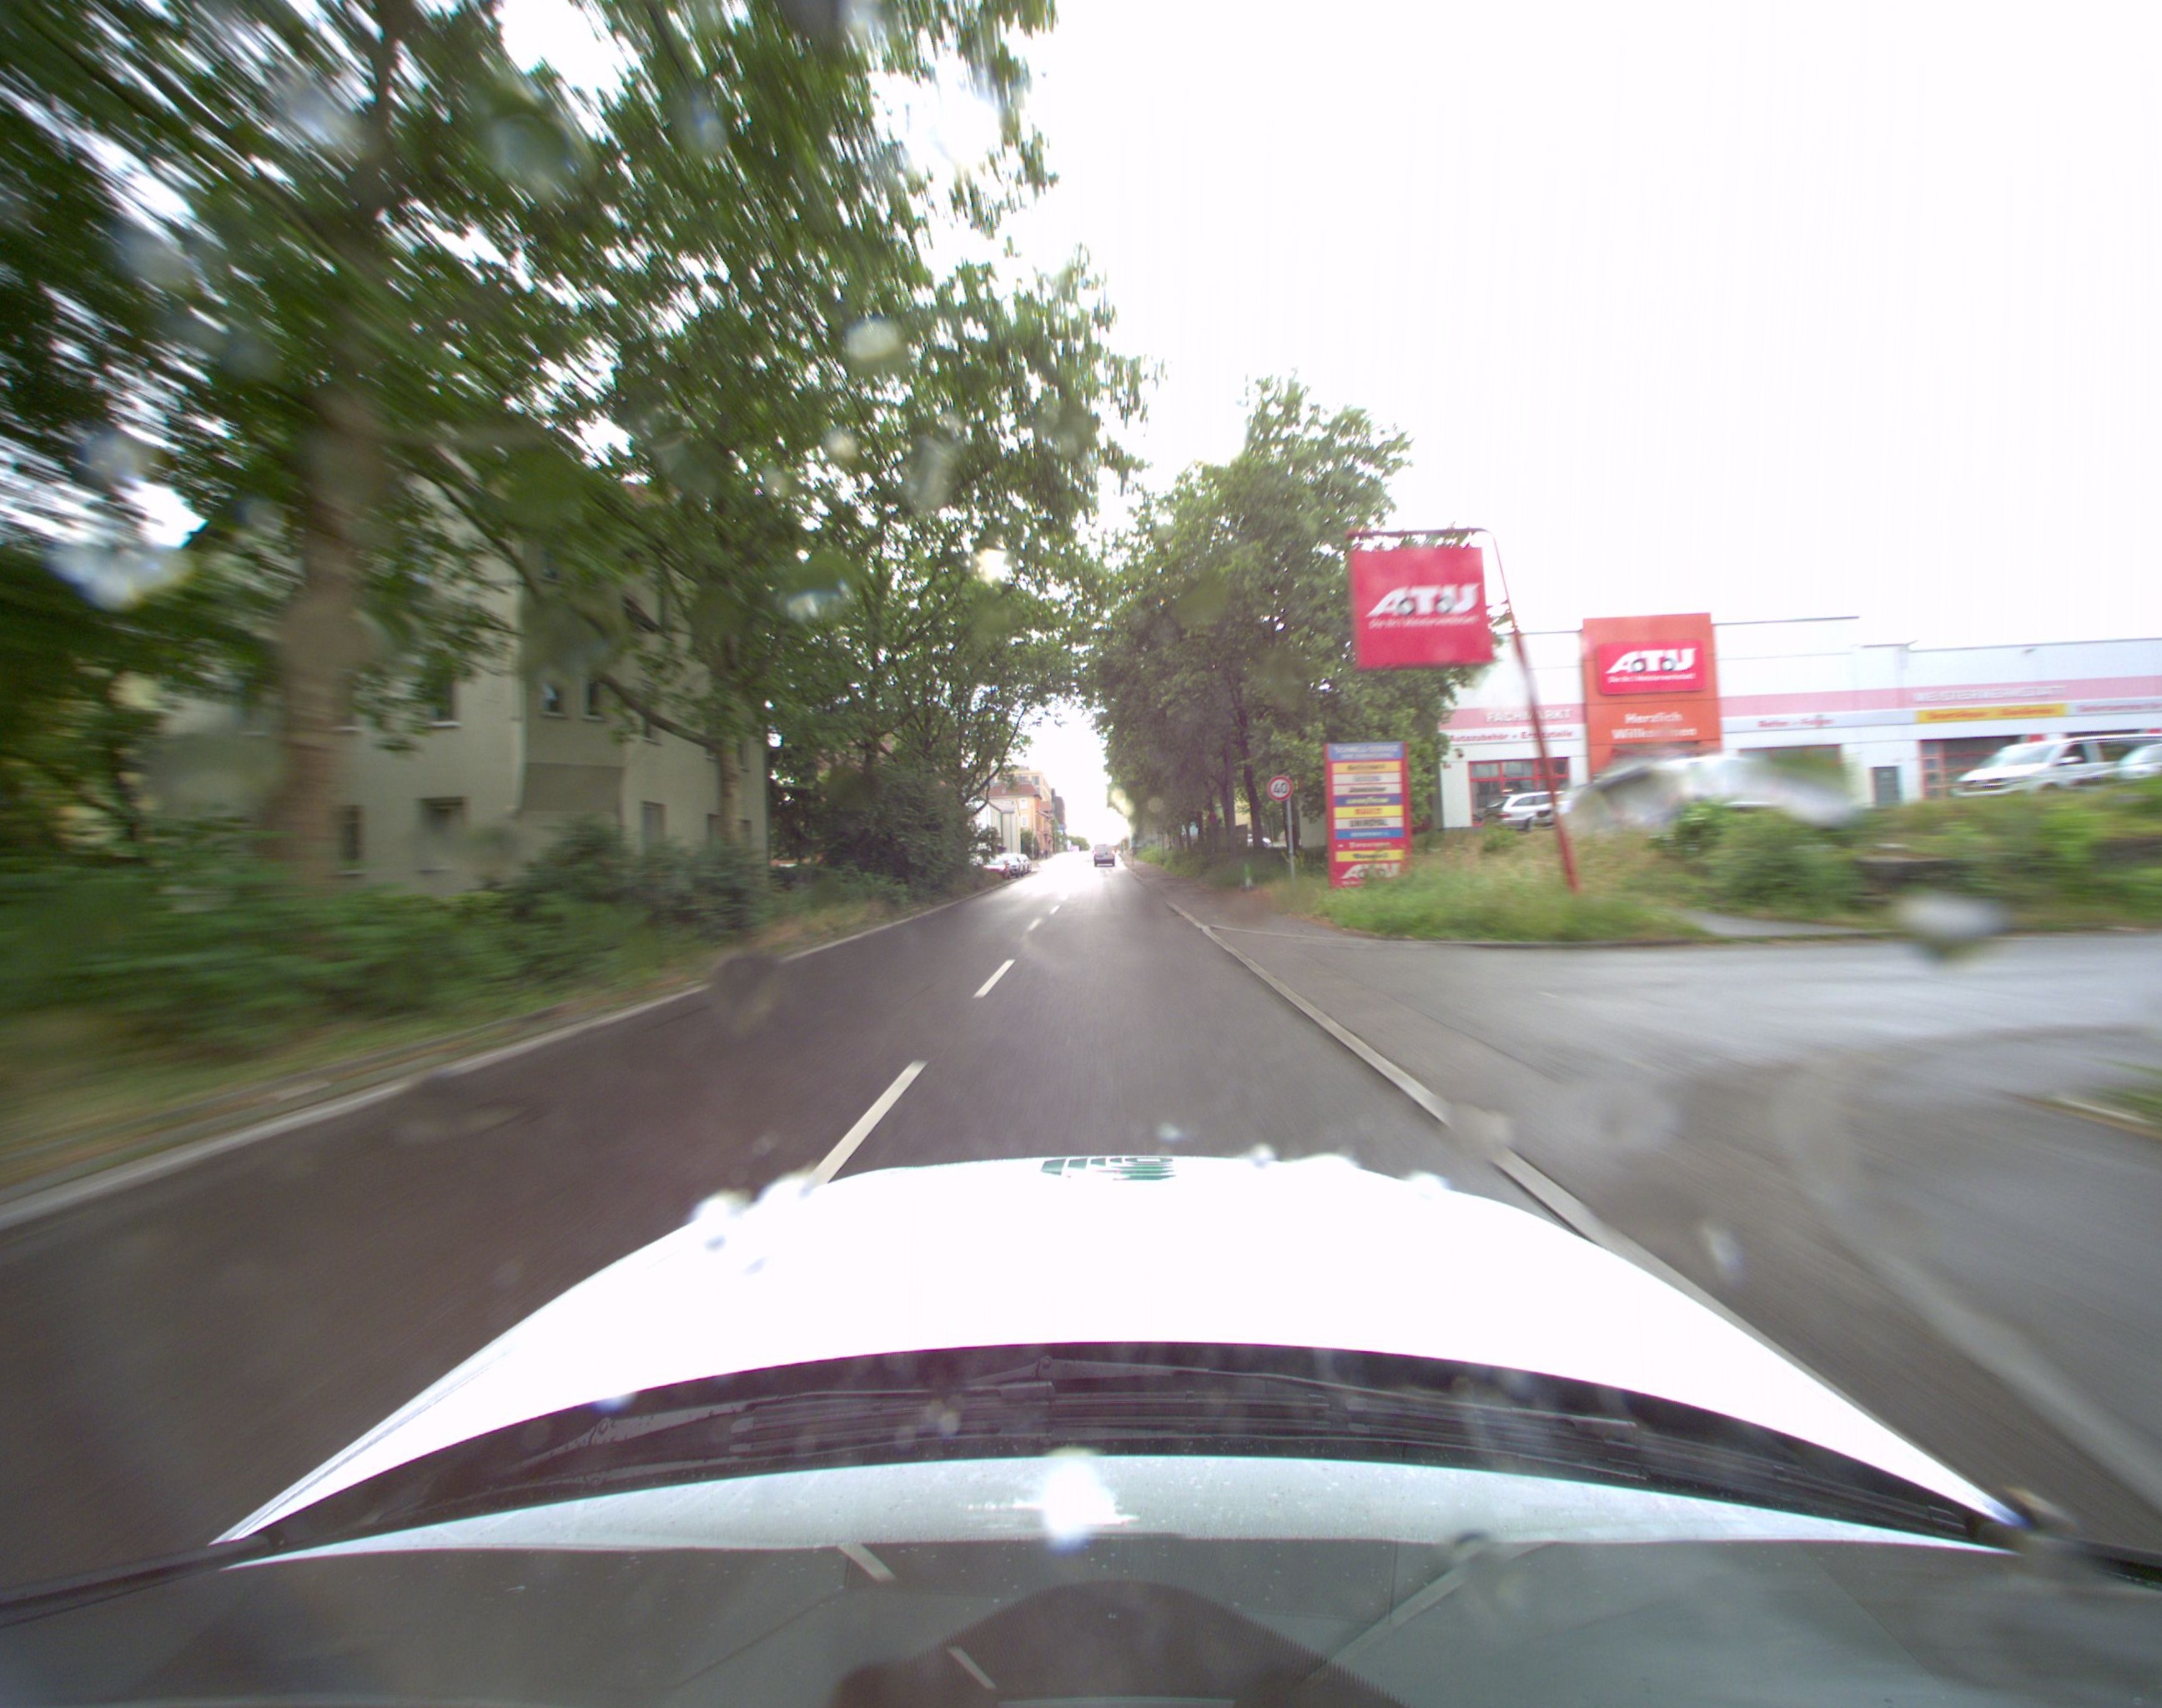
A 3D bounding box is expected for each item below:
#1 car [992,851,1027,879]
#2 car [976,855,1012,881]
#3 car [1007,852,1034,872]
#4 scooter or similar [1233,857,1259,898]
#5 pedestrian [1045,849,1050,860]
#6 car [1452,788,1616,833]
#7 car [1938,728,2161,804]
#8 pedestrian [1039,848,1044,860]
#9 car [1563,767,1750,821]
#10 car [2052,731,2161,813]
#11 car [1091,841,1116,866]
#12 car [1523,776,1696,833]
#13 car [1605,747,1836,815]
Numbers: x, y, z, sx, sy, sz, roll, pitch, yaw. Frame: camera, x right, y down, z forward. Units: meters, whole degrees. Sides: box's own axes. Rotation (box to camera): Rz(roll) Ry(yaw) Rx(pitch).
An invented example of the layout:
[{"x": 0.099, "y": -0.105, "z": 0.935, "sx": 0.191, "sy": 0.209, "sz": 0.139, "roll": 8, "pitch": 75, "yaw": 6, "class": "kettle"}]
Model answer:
[{"x": -4.588, "y": 0.683, "z": 52.840, "sx": 1.684, "sy": 1.542, "sz": 4.119, "roll": -5, "pitch": 1, "yaw": 2, "class": "car"}, {"x": -5.029, "y": 0.771, "z": 47.441, "sx": 1.633, "sy": 1.373, "sz": 3.758, "roll": -1, "pitch": 0, "yaw": 0, "class": "car"}, {"x": -4.690, "y": 0.605, "z": 63.980, "sx": 1.628, "sy": 1.482, "sz": 4.360, "roll": 0, "pitch": 0, "yaw": 2, "class": "car"}, {"x": 4.725, "y": 0.681, "z": 23.370, "sx": 0.424, "sy": 1.142, "sz": 1.528, "roll": 0, "pitch": -2, "yaw": 0, "class": "scooter or similar"}, {"x": -5.756, "y": 0.076, "z": 139.843, "sx": 0.668, "sy": 2.013, "sz": 0.943, "roll": -2, "pitch": 0, "yaw": 6, "class": "pedestrian"}, {"x": 15.438, "y": -1.468, "z": 27.898, "sx": 4.593, "sy": 1.334, "sz": 1.801, "roll": -2, "pitch": 0, "yaw": 1, "class": "car"}, {"x": 27.393, "y": -2.430, "z": 22.881, "sx": 4.757, "sy": 1.783, "sz": 1.914, "roll": -2, "pitch": 0, "yaw": -3, "class": "car"}, {"x": -6.715, "y": -0.058, "z": 139.848, "sx": 0.668, "sy": 2.013, "sz": 0.943, "roll": -2, "pitch": 0, "yaw": 6, "class": "pedestrian"}, {"x": 15.957, "y": -1.646, "z": 22.749, "sx": 3.901, "sy": 1.293, "sz": 1.835, "roll": -1, "pitch": -1, "yaw": 3, "class": "car"}, {"x": 26.965, "y": -1.987, "z": 20.148, "sx": 3.977, "sy": 1.783, "sz": 1.659, "roll": 0, "pitch": -2, "yaw": -3, "class": "car"}, {"x": 2.259, "y": -0.052, "z": 80.295, "sx": 2.327, "sy": 2.231, "sz": 4.002, "roll": -3, "pitch": -1, "yaw": 2, "class": "car"}, {"x": 16.286, "y": -1.504, "z": 25.276, "sx": 4.084, "sy": 1.466, "sz": 1.886, "roll": -2, "pitch": 0, "yaw": 2, "class": "car"}, {"x": 15.490, "y": -1.744, "z": 19.914, "sx": 4.082, "sy": 1.376, "sz": 1.905, "roll": -1, "pitch": -1, "yaw": 3, "class": "car"}]
